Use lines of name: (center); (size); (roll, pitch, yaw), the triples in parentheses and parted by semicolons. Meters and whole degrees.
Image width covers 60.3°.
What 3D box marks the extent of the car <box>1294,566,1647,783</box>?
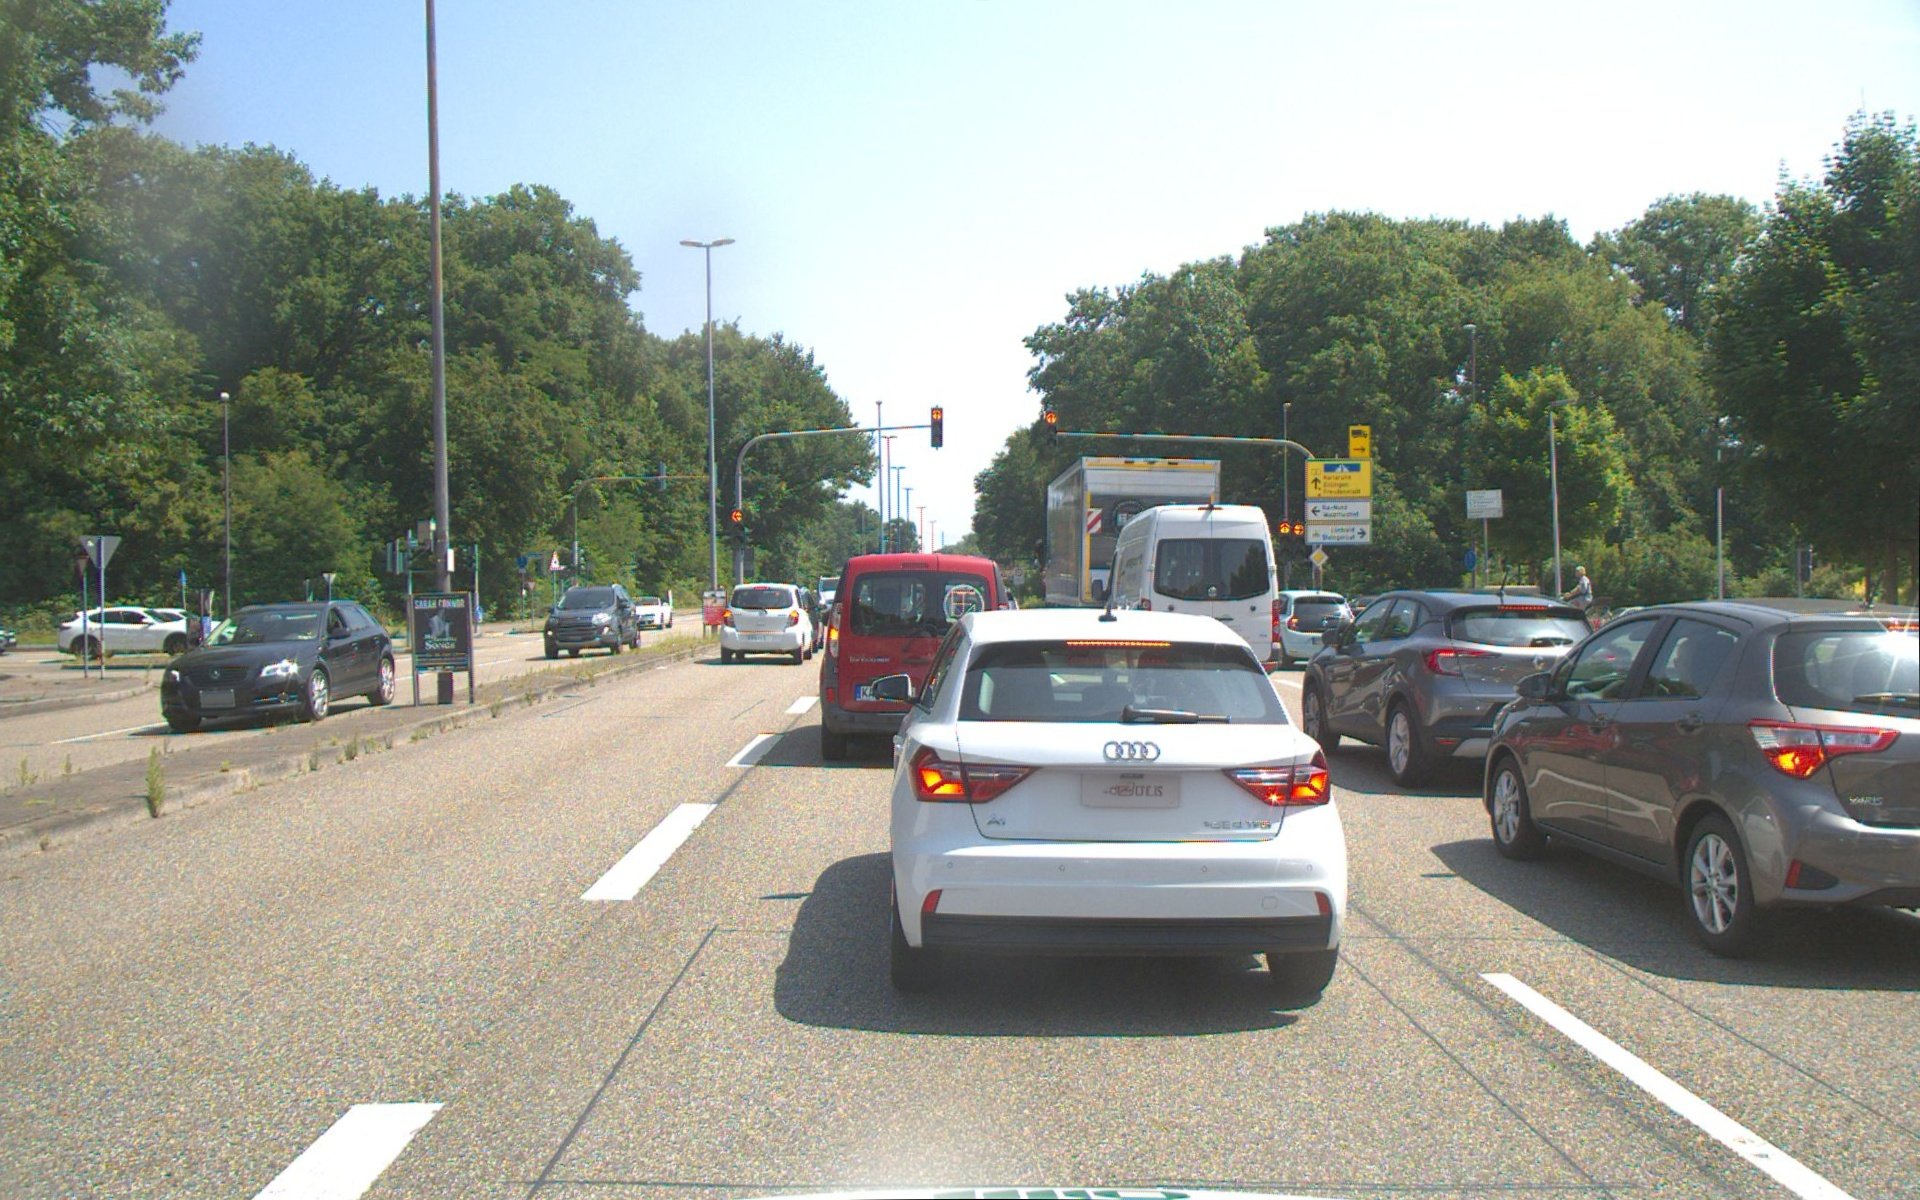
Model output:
car: (4.250, 0.546, 14.464); (1.677, 1.621, 4.090); (0, 0, -3)

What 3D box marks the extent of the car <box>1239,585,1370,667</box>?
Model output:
car: (6.986, 0.482, 33.955); (1.677, 1.573, 4.090); (0, 0, -3)

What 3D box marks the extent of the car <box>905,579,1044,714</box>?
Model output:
car: (0.109, 0.555, 22.435); (1.677, 1.660, 4.090); (0, 0, -3)

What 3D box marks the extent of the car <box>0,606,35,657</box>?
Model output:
car: (-34.296, 1.052, 56.487); (4.294, 1.711, 1.805); (1, -1, -12)

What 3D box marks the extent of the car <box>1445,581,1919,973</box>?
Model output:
car: (4.042, 0.706, 8.512); (1.678, 1.504, 4.090); (3, 0, -3)

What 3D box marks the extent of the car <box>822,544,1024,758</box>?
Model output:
car: (-0.392, 0.411, 15.830); (1.677, 1.779, 4.090); (0, 0, -3)

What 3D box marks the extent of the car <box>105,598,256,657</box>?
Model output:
car: (-27.000, 0.938, 57.434); (4.291, 1.710, 1.807); (-4, 0, -9)

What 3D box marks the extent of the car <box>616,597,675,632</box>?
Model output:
car: (-13.069, 0.591, 69.008); (1.683, 1.284, 4.300); (-3, 0, -2)

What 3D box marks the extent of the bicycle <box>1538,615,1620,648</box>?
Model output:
bicycle: (15.155, 0.775, 40.529); (1.782, 0.779, 0.601); (-1, 0, 7)

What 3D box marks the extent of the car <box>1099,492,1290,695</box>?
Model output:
car: (3.319, -0.102, 24.348); (1.990, 2.690, 4.843); (0, 0, -2)

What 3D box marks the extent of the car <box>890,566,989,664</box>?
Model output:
car: (-0.436, 0.235, 30.186); (1.677, 1.660, 4.090); (0, 0, -3)

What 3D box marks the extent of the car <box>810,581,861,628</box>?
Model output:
car: (-5.768, 0.191, 76.254); (1.957, 2.049, 3.991); (-1, 0, -9)

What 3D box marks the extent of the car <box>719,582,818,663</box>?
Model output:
car: (-3.796, 0.409, 33.290); (1.677, 1.519, 4.090); (0, 0, -3)

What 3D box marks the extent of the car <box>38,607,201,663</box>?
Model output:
car: (-27.121, 1.120, 53.495); (4.290, 1.711, 1.807); (1, 0, -9)

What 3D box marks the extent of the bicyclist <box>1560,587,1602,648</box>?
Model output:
bicyclist: (15.208, 0.424, 40.512); (0.809, 1.464, 0.600); (-1, 0, 7)

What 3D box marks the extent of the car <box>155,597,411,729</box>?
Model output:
car: (-8.352, 0.712, 20.779); (1.645, 1.362, 3.998); (-3, 1, -3)

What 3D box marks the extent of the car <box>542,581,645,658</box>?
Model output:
car: (-8.661, 0.427, 39.339); (1.653, 1.628, 3.883); (-3, 0, -2)

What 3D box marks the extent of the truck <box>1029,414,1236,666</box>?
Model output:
truck: (3.366, -1.125, 35.677); (3.026, 4.511, 11.578); (1, 0, -1)

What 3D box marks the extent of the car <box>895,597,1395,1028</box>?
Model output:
car: (0.548, 0.711, 7.603); (1.677, 1.410, 4.090); (0, 0, -3)
